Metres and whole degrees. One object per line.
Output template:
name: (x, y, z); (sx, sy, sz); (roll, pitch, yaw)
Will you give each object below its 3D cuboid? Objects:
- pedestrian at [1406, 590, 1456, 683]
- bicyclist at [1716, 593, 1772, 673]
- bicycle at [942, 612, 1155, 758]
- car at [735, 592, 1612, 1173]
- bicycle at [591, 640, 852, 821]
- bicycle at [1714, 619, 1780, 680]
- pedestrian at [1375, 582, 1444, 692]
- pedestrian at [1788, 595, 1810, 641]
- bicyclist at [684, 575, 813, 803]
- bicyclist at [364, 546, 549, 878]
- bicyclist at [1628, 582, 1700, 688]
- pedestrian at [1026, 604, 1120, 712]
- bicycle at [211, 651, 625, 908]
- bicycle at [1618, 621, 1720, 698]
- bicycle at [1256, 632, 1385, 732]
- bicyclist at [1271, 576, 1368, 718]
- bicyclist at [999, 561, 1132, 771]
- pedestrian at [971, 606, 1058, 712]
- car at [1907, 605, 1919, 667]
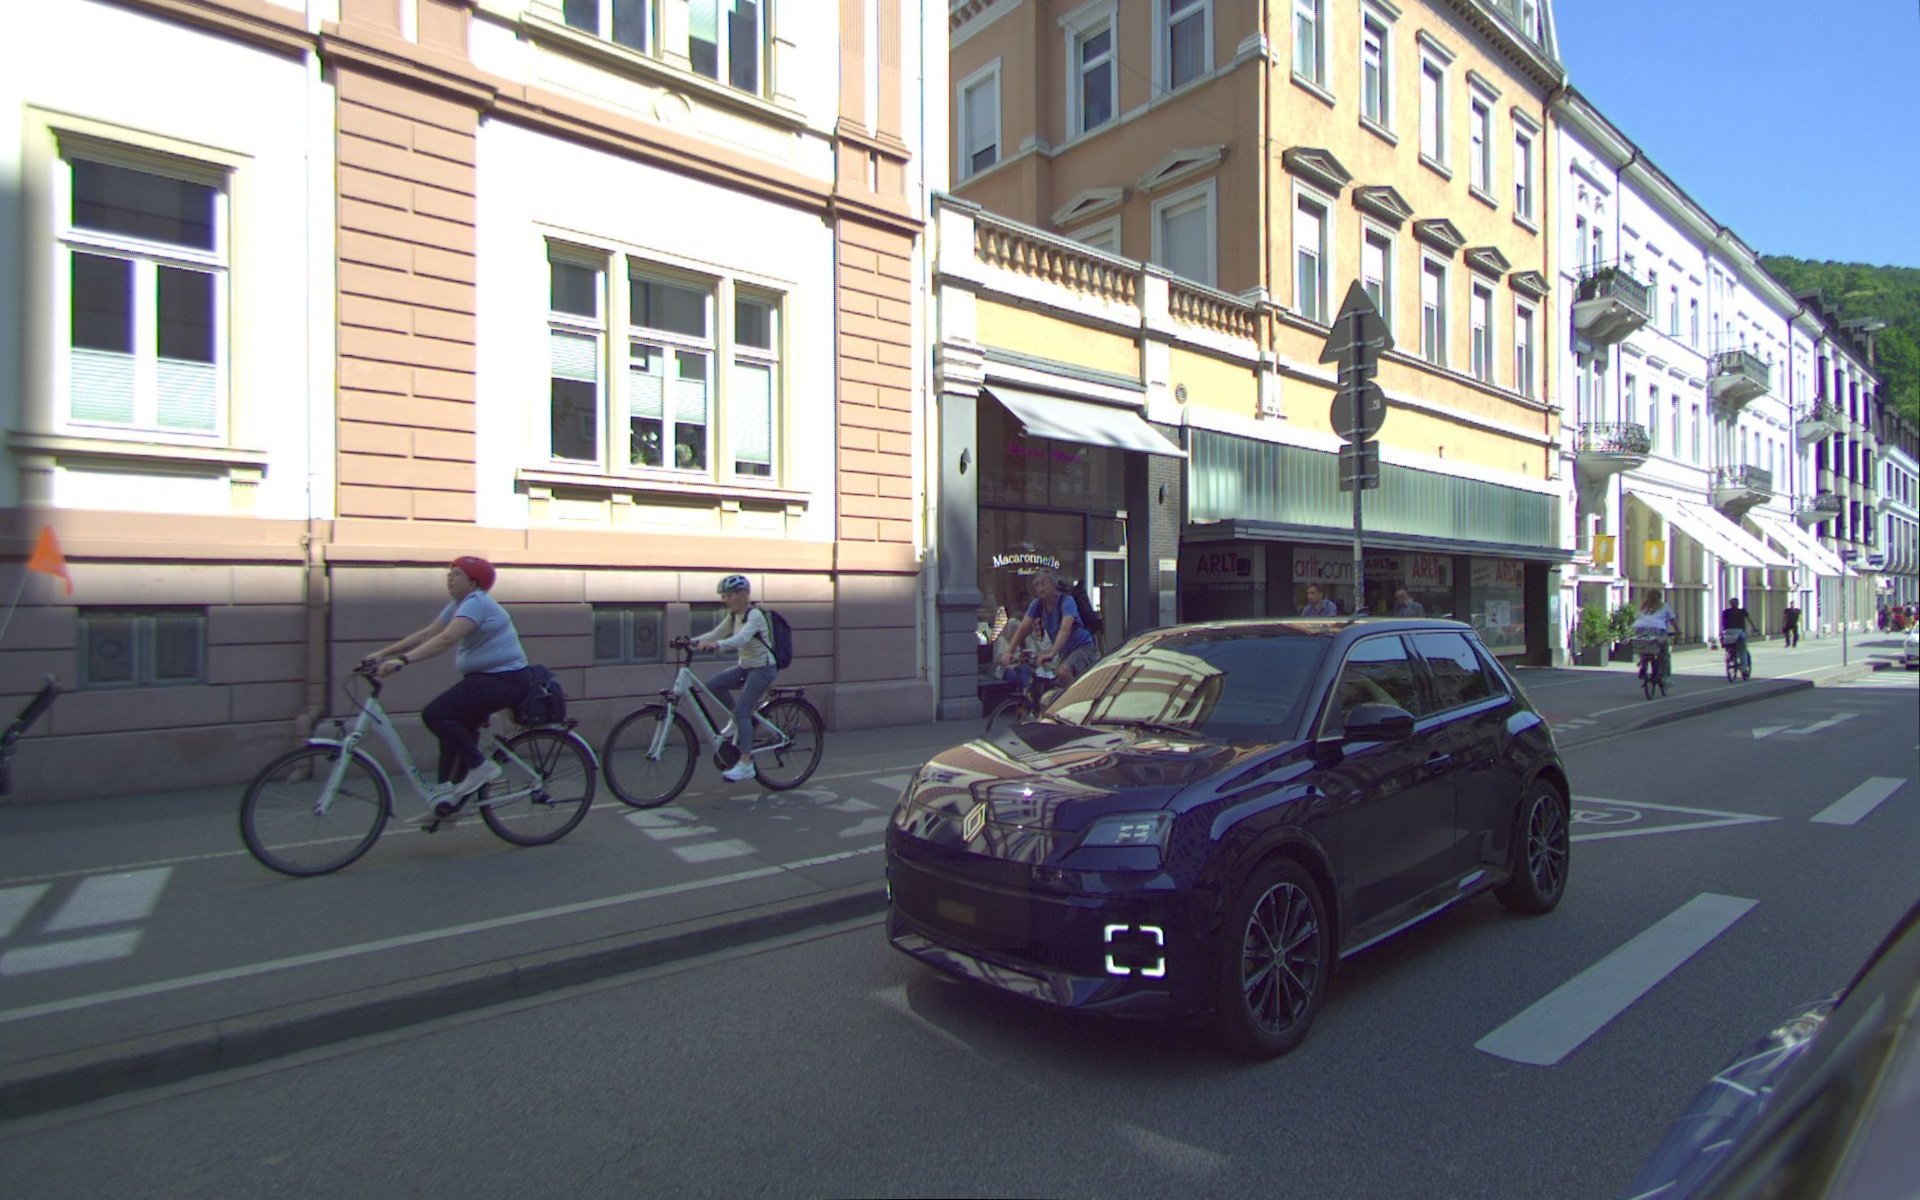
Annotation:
pedestrian: (8.775, 0.666, 18.847); (0.829, 1.686, 0.522); (0, 0, -40)
bicyclist: (16.017, 0.659, 20.678); (0.829, 1.593, 0.747); (0, 0, -39)
bicycle: (0.814, 0.686, 8.891); (1.955, 1.132, 0.664); (0, 0, -39)
car: (1.295, 0.785, 4.824); (4.216, 1.511, 1.888); (-1, -2, -41)
bicycle: (-1.753, 0.912, 7.616); (1.826, 1.141, 0.607); (0, 1, -39)
bicycle: (16.240, 0.992, 20.867); (2.056, 1.141, 0.596); (0, 1, -39)
pedestrian: (7.698, 0.609, 17.349); (0.754, 1.814, 0.840); (0, 0, -39)
pedestrian: (31.460, 0.658, 37.943); (0.853, 1.690, 0.482); (1, -1, -41)
bicyclist: (-1.628, 0.639, 7.810); (0.829, 1.657, 0.516); (0, 0, -40)
bicyclist: (-2.903, 0.585, 5.835); (0.829, 1.739, 0.684); (0, -1, -40)
bicyclist: (11.848, 0.556, 17.034); (1.017, 1.724, 0.747); (0, 0, -40)
pedestrian: (1.496, 0.744, 13.521); (0.614, 1.332, 1.088); (1, 2, -41)
bicycle: (-3.055, 0.920, 5.831); (1.997, 1.141, 0.737); (0, 1, -39)
bicycle: (12.098, 0.971, 17.226); (2.527, 1.141, 0.743); (-1, 1, -39)
bicycle: (4.676, 1.018, 13.058); (1.885, 1.132, 0.747); (0, 1, -42)
bicyclist: (4.621, 0.562, 13.014); (0.830, 1.739, 0.909); (0, 0, -44)
bicyclist: (0.931, 0.538, 8.979); (0.829, 1.739, 0.840); (0, 0, -39)
pedestrian: (0.711, 0.747, 13.420); (0.614, 1.333, 1.031); (1, 0, -41)
car: (26.422, 0.870, 26.636); (4.192, 1.544, 1.795); (-1, -3, -43)
